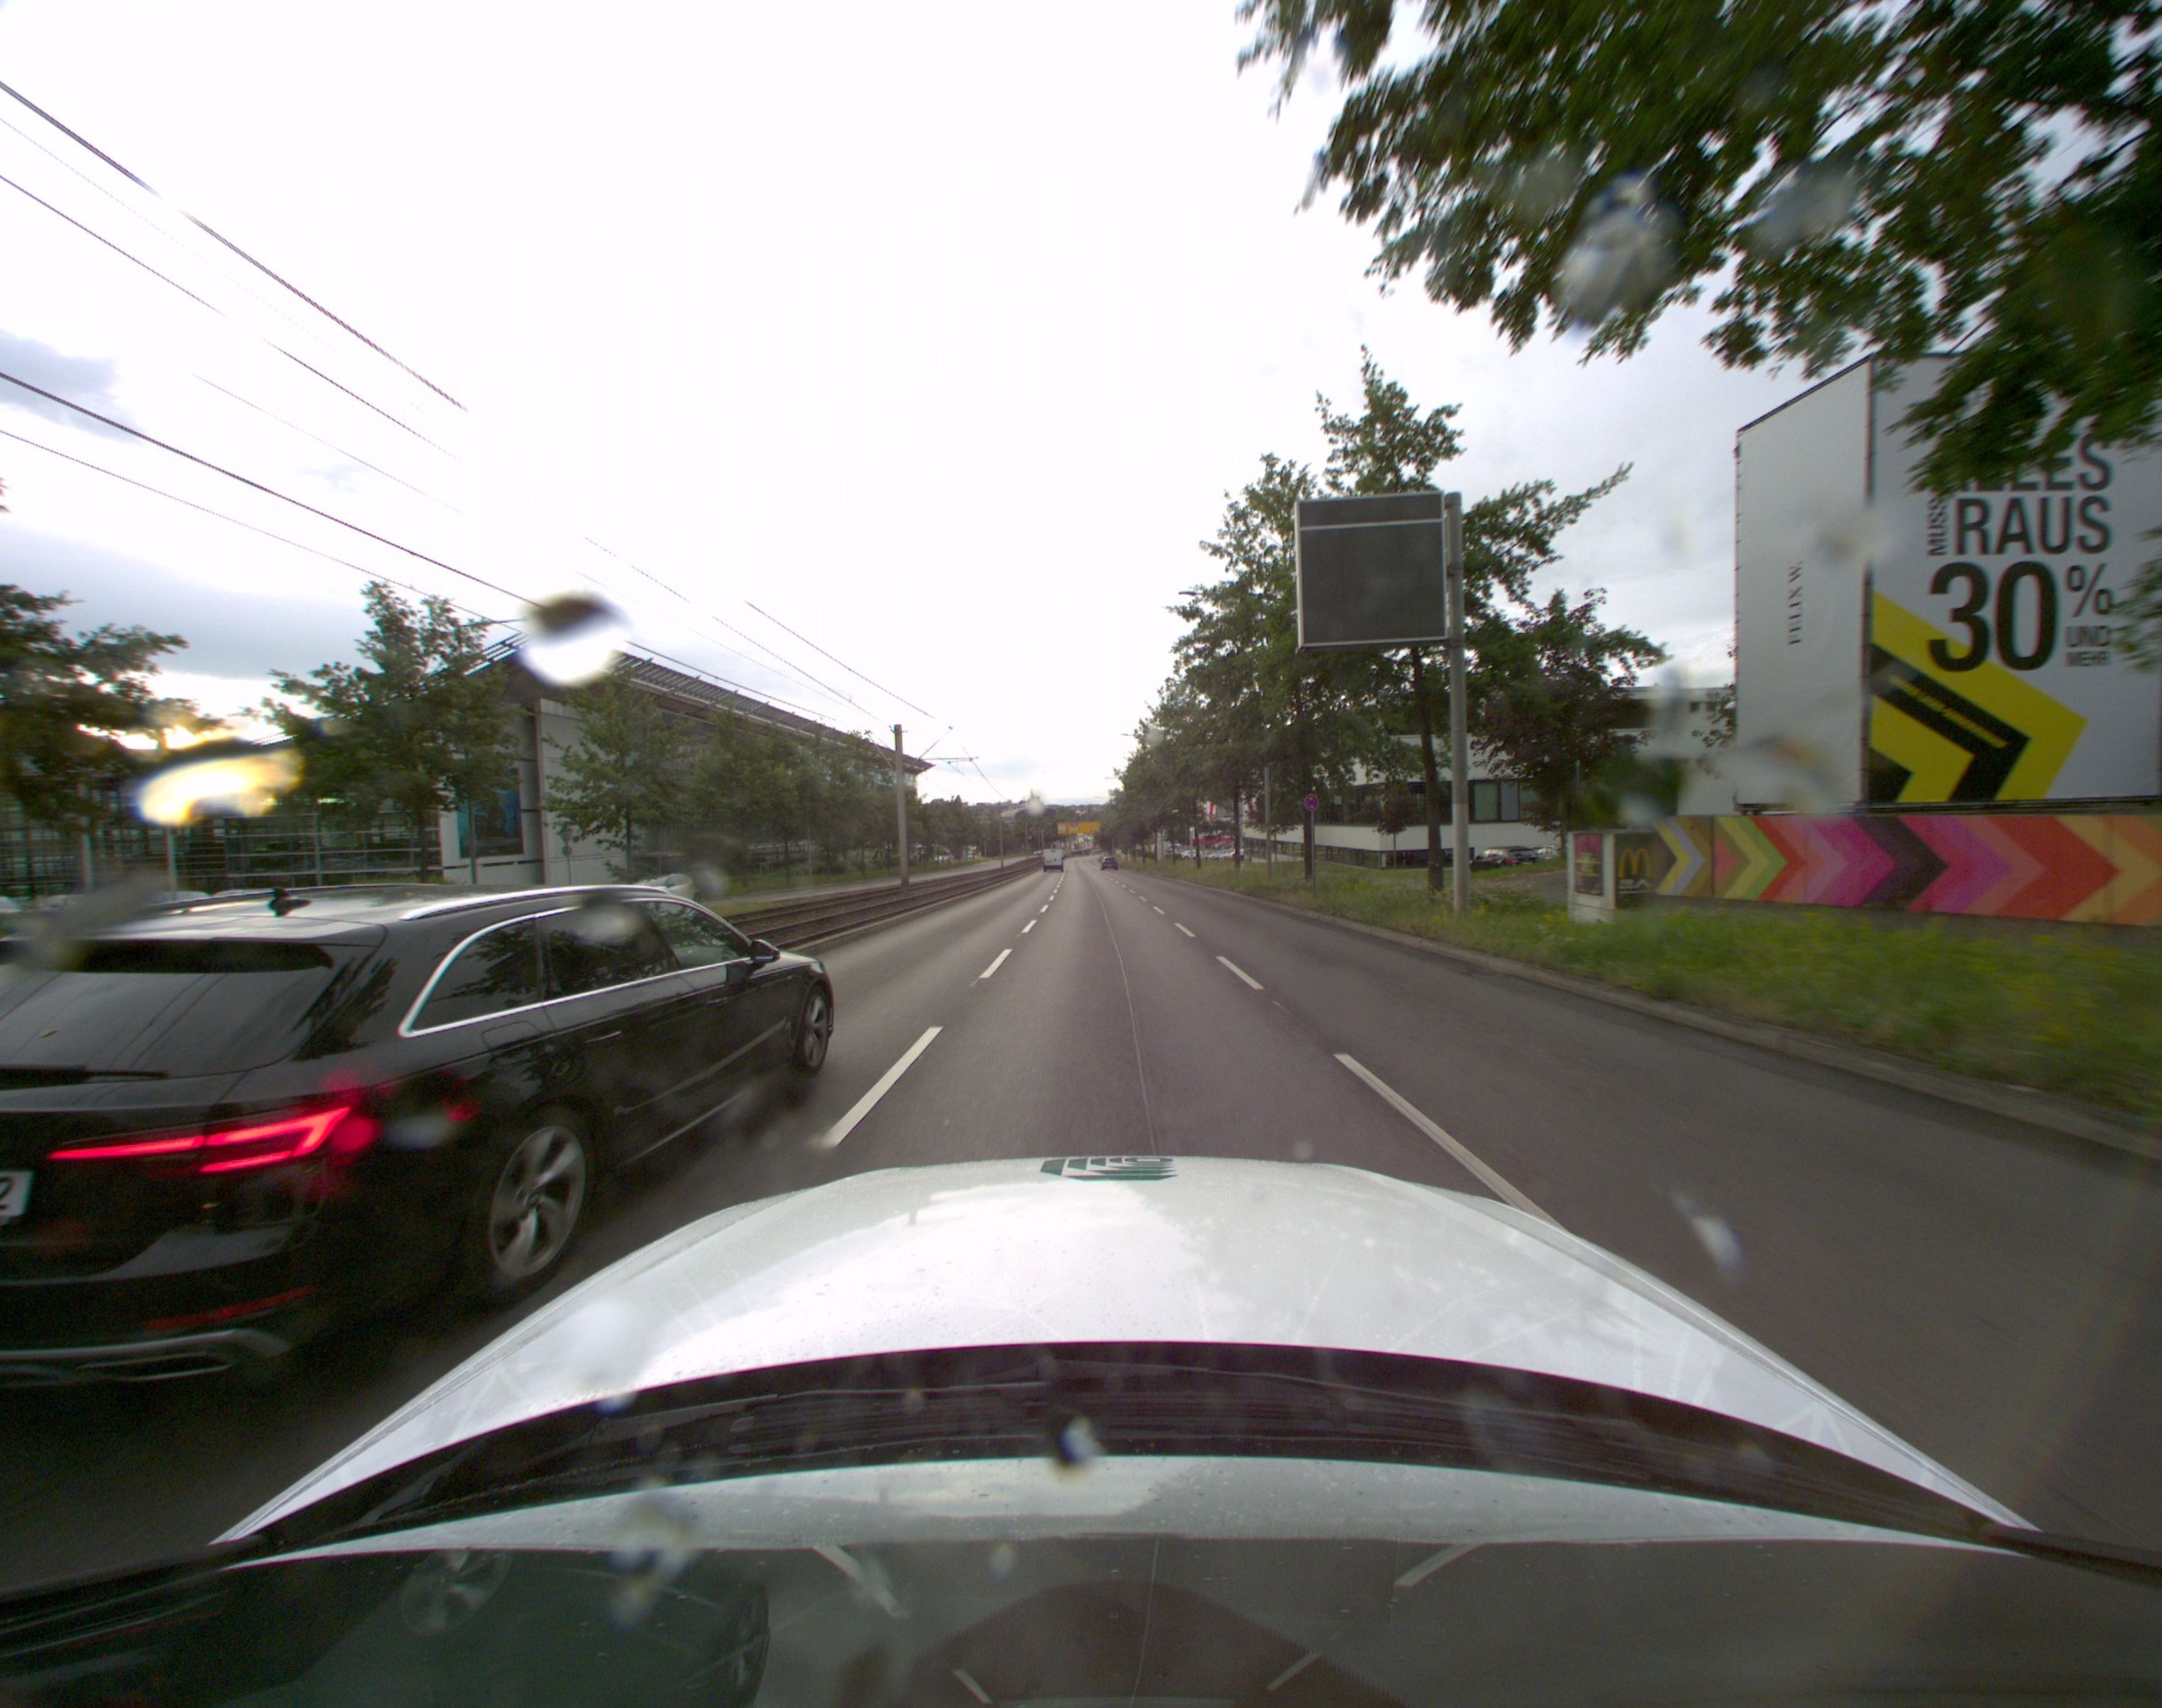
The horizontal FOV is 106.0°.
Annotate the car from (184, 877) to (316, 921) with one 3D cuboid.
[{"bbox_3d":[-36.927,1.973,36.256,4.055,1.836,1.864,0,0,3],"label":"car"}]

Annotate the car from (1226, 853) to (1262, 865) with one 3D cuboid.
[{"bbox_3d":[19.120,0.611,95.867,3.969,1.354,2.002,0,0,4],"label":"car"}]

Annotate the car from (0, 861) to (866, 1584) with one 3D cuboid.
[{"bbox_3d":[-2.719,0.819,4.150,1.783,1.434,4.831,-1,1,2],"label":"car"}]

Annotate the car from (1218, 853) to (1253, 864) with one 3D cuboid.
[{"bbox_3d":[19.213,0.533,101.398,3.969,1.354,2.002,0,0,4],"label":"car"}]

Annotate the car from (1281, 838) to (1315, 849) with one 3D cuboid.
[{"bbox_3d":[27.799,-1.330,104.529,3.969,1.354,2.002,0,0,4],"label":"car"}]

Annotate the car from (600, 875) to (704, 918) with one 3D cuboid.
[{"bbox_3d":[-17.040,1.633,32.591,1.874,1.447,4.139,-2,0,1],"label":"car"}]

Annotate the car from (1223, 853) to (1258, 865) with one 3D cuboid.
[{"bbox_3d":[19.298,0.622,98.459,3.969,1.354,2.002,0,0,4],"label":"car"}]

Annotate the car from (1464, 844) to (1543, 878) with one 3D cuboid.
[{"bbox_3d":[20.564,0.337,39.850,1.856,1.545,4.009,0,0,1],"label":"car"}]

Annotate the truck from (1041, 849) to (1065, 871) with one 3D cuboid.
[{"bbox_3d":[-2.884,0.626,84.474,2.353,2.262,5.303,0,0,-1],"label":"truck"}]

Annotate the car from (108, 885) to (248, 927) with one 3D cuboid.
[{"bbox_3d":[-37.078,2.110,33.488,4.037,1.618,1.639,0,0,3],"label":"car"}]

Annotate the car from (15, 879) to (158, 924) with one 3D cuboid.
[{"bbox_3d":[-43.088,2.037,35.348,4.055,1.836,1.864,0,0,3],"label":"car"}]

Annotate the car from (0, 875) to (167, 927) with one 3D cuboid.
[{"bbox_3d":[-37.193,1.721,30.426,4.055,1.836,1.864,0,0,3],"label":"car"}]

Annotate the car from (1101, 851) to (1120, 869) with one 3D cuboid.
[{"bbox_3d":[3.222,0.641,89.611,1.986,2.013,3.935,0,0,1],"label":"car"}]
